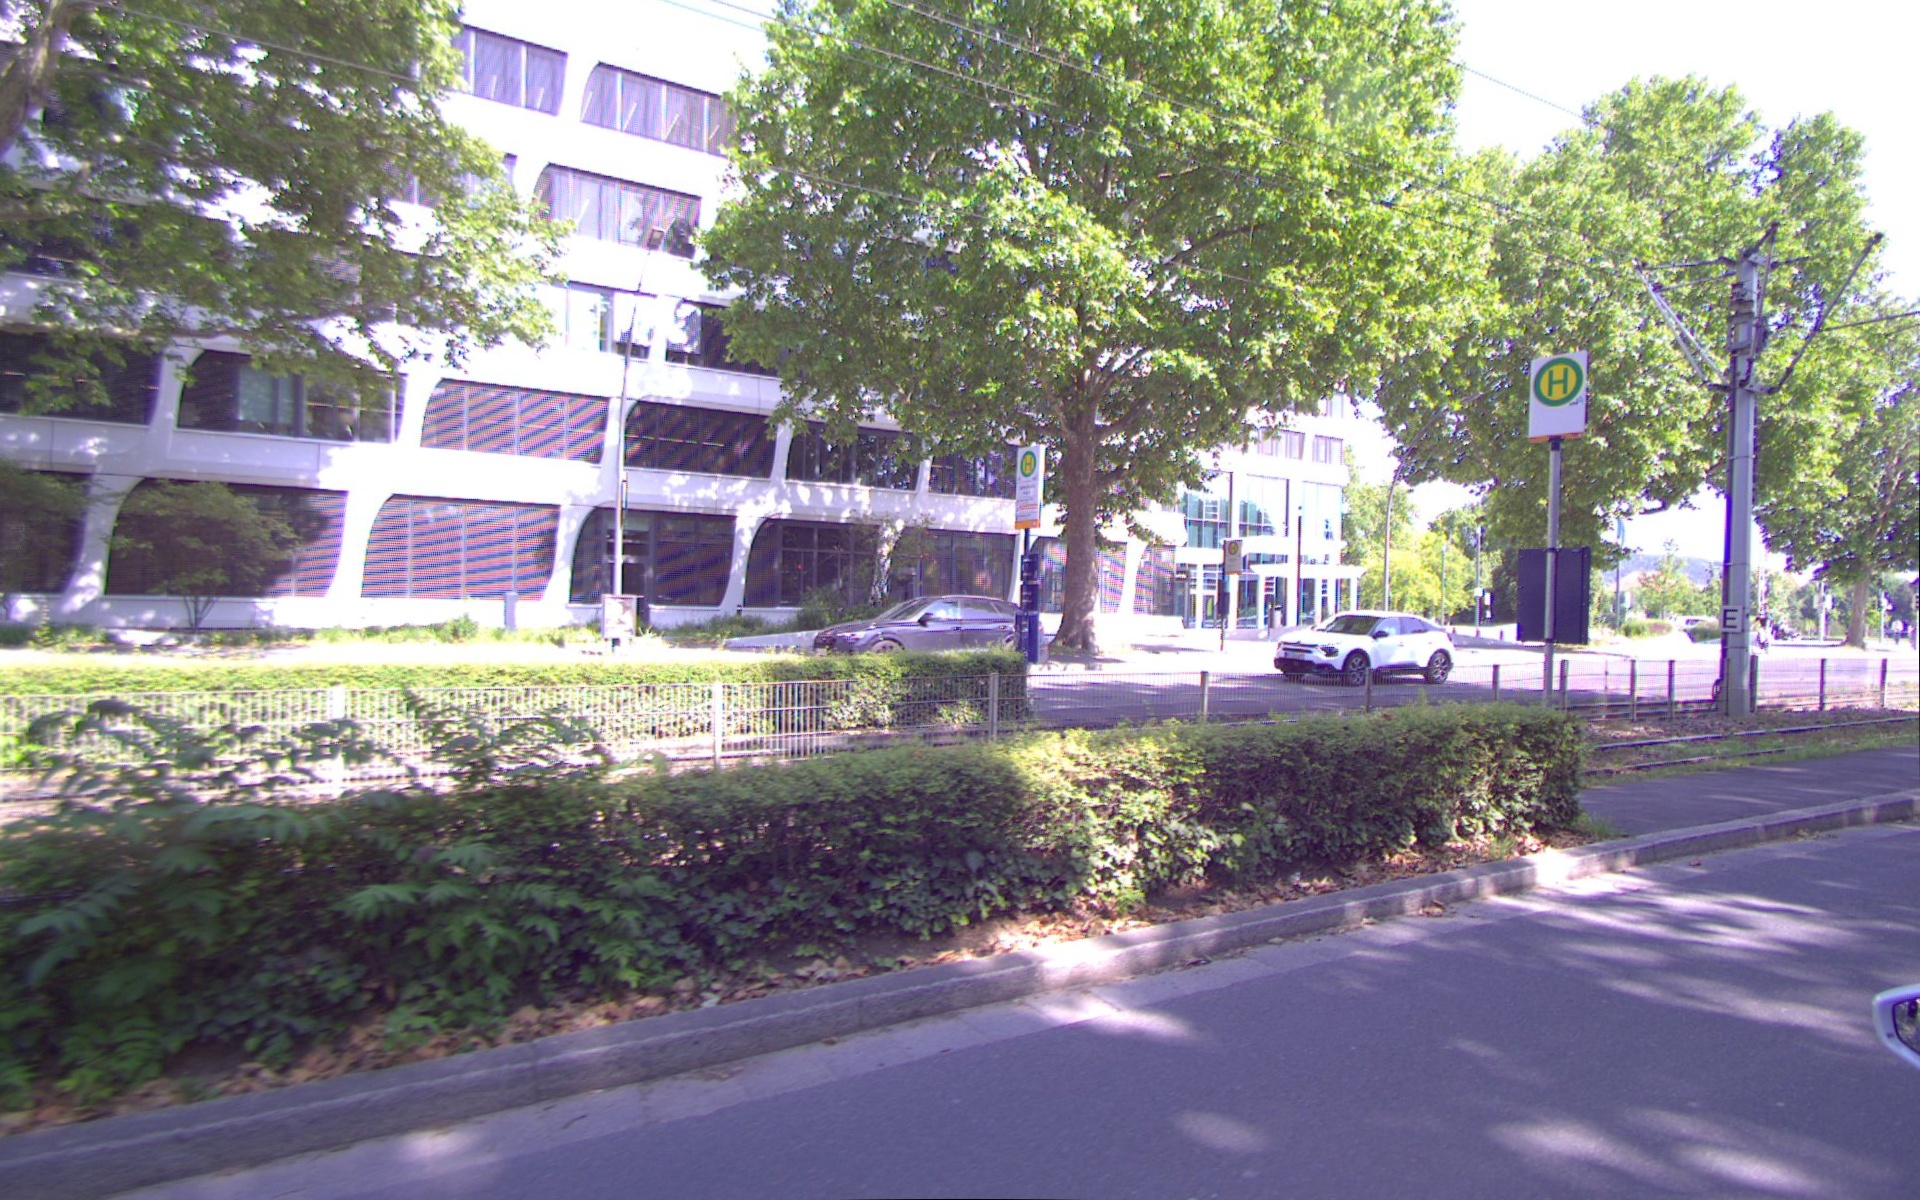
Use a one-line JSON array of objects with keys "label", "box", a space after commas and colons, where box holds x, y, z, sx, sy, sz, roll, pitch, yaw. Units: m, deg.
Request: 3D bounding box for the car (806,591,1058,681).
[{"label": "car", "box": [-0.517, 0.694, 20.460, 4.837, 1.646, 1.821, 1, 0, -30]}]

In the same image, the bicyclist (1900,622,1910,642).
[{"label": "bicyclist", "box": [63.802, 2.185, 67.845, 0.461, 1.329, 0.382, 1, 1, -35]}]

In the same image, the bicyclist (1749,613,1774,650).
[{"label": "bicyclist", "box": [36.079, 1.406, 45.230, 0.828, 1.625, 0.572, 1, 0, -29]}]

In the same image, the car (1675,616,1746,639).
[{"label": "car", "box": [55.945, 2.049, 74.952, 1.747, 1.569, 3.831, 1, 0, -28]}]

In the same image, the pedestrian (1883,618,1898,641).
[{"label": "pedestrian", "box": [66.330, 2.103, 71.623, 0.637, 1.562, 0.620, 1, 0, -30]}]

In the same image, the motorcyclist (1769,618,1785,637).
[{"label": "motorcyclist", "box": [59.188, 1.975, 72.773, 0.596, 1.332, 0.750, 1, 0, -28]}]

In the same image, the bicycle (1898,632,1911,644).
[{"label": "bicycle", "box": [63.794, 2.570, 67.862, 1.135, 0.758, 0.417, 1, 0, -36]}]

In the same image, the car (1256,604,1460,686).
[{"label": "car", "box": [8.564, 0.925, 21.529, 4.253, 1.584, 1.802, 1, 0, -30]}]

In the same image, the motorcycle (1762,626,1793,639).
[{"label": "motorcycle", "box": [59.189, 2.354, 72.755, 0.642, 0.903, 1.637, 1, 0, -28]}]

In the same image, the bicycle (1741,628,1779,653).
[{"label": "bicycle", "box": [36.004, 1.821, 45.220, 1.860, 1.109, 0.664, 1, 0, -29]}]
